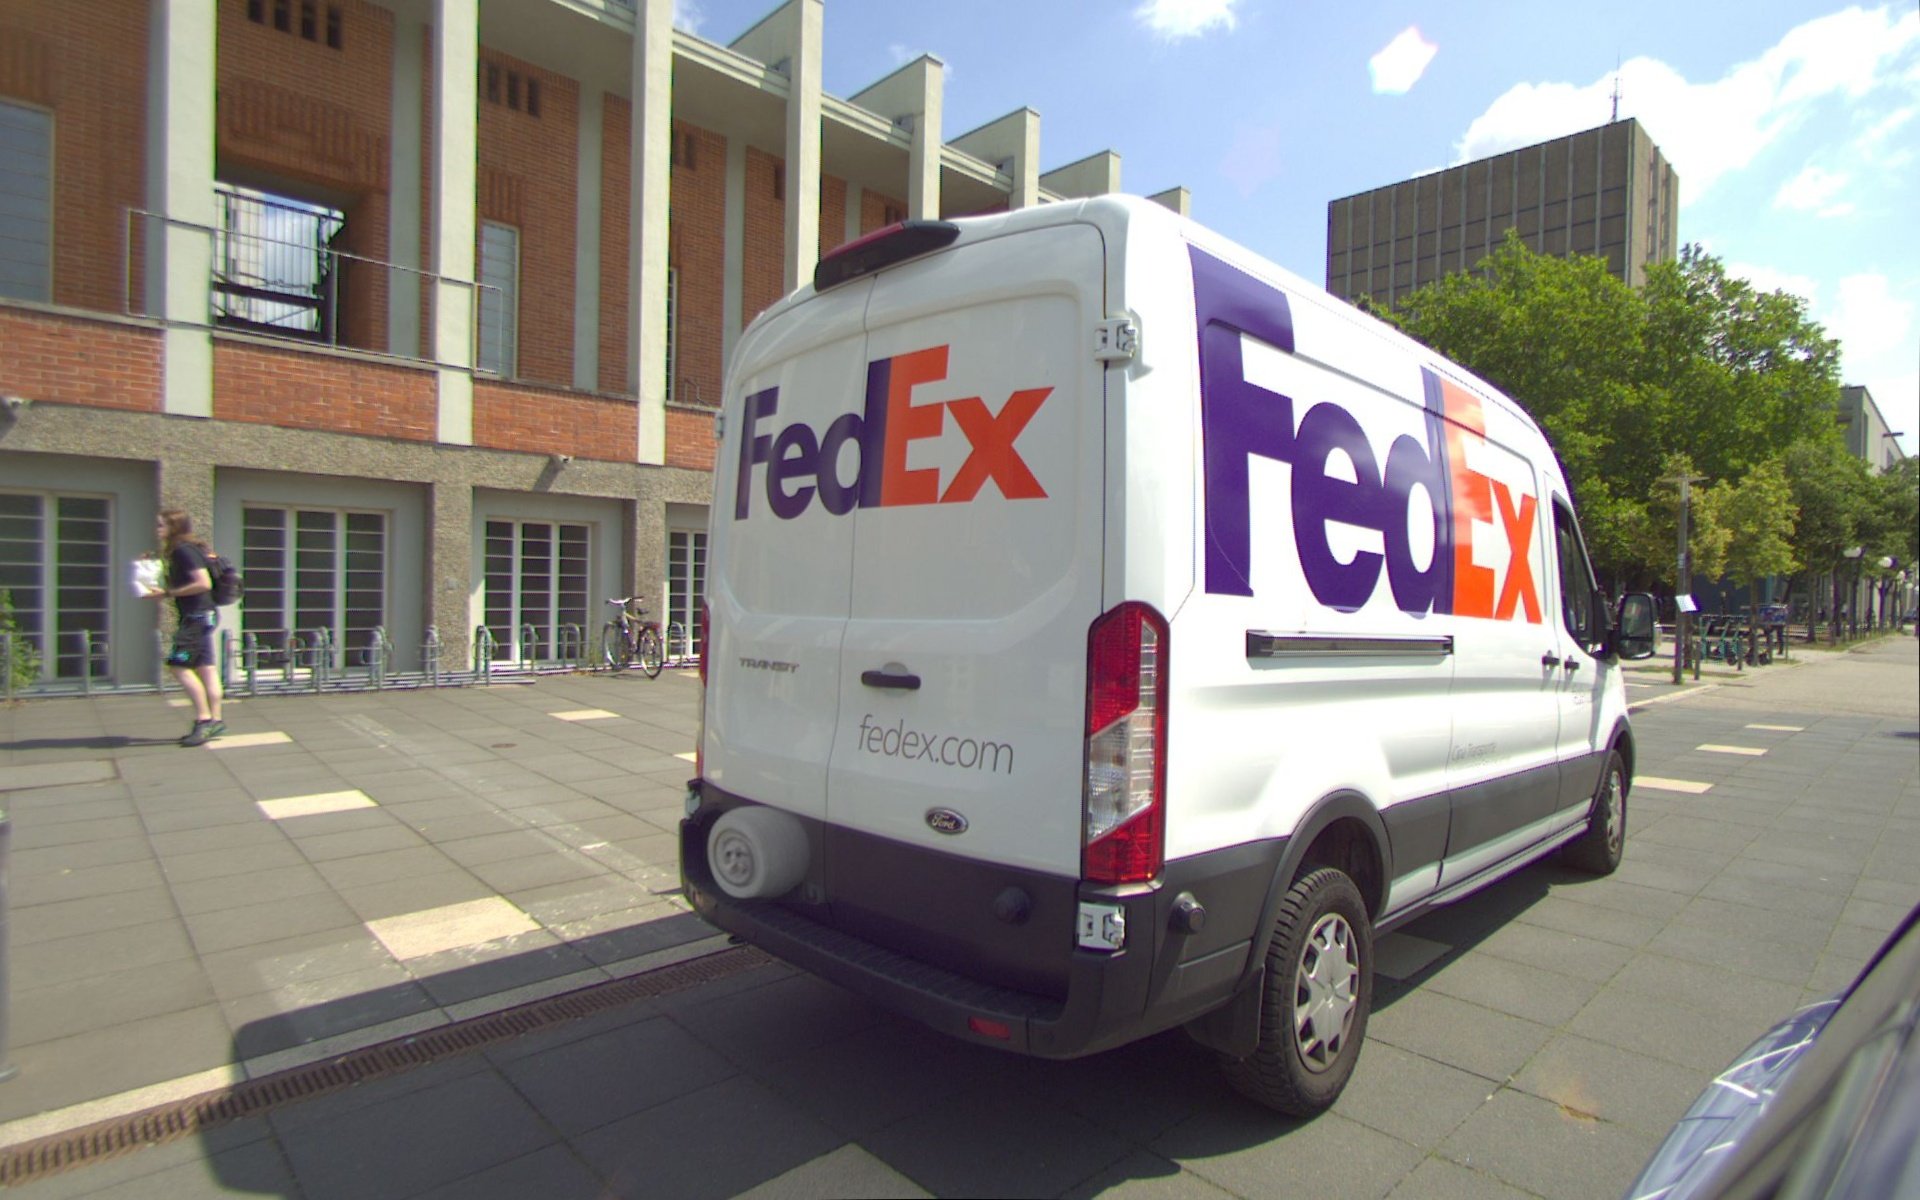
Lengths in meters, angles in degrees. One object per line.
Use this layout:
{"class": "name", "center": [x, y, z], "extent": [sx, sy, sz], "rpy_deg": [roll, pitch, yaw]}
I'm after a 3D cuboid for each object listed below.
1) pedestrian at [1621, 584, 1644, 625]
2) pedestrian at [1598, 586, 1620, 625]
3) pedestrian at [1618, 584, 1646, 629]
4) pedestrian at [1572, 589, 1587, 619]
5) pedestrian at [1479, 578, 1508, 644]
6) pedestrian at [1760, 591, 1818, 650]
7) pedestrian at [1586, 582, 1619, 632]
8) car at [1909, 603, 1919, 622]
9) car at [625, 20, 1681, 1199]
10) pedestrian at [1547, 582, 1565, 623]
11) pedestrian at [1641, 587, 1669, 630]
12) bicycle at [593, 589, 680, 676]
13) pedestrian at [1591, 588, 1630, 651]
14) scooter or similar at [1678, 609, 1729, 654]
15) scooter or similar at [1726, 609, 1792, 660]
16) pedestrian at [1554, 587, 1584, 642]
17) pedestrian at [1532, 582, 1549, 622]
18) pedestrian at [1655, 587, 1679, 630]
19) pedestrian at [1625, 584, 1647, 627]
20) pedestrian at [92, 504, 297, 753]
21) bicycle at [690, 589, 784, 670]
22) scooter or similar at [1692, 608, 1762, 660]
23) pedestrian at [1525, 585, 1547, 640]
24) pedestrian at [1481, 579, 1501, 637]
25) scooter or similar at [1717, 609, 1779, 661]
{"class": "pedestrian", "center": [31.577, 0.208, 47.537], "extent": [0.627, 1.893, 0.538], "rpy_deg": [2, 0, 1]}
{"class": "pedestrian", "center": [29.090, 0.253, 45.391], "extent": [0.631, 1.729, 0.710], "rpy_deg": [2, 0, 19]}
{"class": "pedestrian", "center": [27.319, 0.264, 41.173], "extent": [0.773, 1.813, 0.709], "rpy_deg": [2, 0, 24]}
{"class": "pedestrian", "center": [33.071, 0.202, 54.014], "extent": [0.635, 1.577, 0.568], "rpy_deg": [2, 1, 32]}
{"class": "pedestrian", "center": [15.038, 0.289, 28.550], "extent": [0.579, 1.800, 0.793], "rpy_deg": [2, 2, 21]}
{"class": "pedestrian", "center": [26.631, 0.644, 32.526], "extent": [0.968, 1.809, 1.091], "rpy_deg": [2, 1, 12]}
{"class": "pedestrian", "center": [26.504, 0.276, 41.758], "extent": [0.972, 1.970, 0.970], "rpy_deg": [2, 1, 24]}
{"class": "car", "center": [87.115, 1.108, 91.331], "extent": [1.994, 1.678, 3.936], "rpy_deg": [2, 1, 44]}
{"class": "car", "center": [1.606, 0.124, 4.796], "extent": [2.060, 2.575, 5.756], "rpy_deg": [2, 1, 44]}
{"class": "pedestrian", "center": [27.091, 0.112, 45.999], "extent": [0.535, 1.816, 0.640], "rpy_deg": [2, 0, 22]}
{"class": "pedestrian", "center": [28.100, 0.327, 40.921], "extent": [0.743, 1.694, 0.839], "rpy_deg": [2, 1, 24]}
{"class": "bicycle", "center": [-4.568, 0.431, 14.232], "extent": [0.428, 1.124, 1.683], "rpy_deg": [1, 1, -44]}
{"class": "pedestrian", "center": [18.474, 0.536, 28.742], "extent": [0.781, 1.696, 1.064], "rpy_deg": [2, 2, 40]}
{"class": "scooter or similar", "center": [20.436, 0.869, 27.824], "extent": [1.448, 1.194, 0.577], "rpy_deg": [2, 1, -30]}
{"class": "scooter or similar", "center": [20.840, 0.882, 26.407], "extent": [0.564, 1.248, 1.267], "rpy_deg": [2, 1, -9]}
{"class": "pedestrian", "center": [20.128, 0.461, 33.438], "extent": [0.785, 1.788, 0.667], "rpy_deg": [2, -1, -45]}
{"class": "pedestrian", "center": [26.500, 0.094, 46.202], "extent": [0.559, 1.816, 0.640], "rpy_deg": [2, 0, 22]}
{"class": "pedestrian", "center": [29.696, 0.354, 42.525], "extent": [0.615, 1.761, 0.768], "rpy_deg": [2, 0, 24]}
{"class": "pedestrian", "center": [28.636, 0.232, 42.879], "extent": [0.596, 1.774, 0.758], "rpy_deg": [2, 0, 25]}
{"class": "pedestrian", "center": [-6.235, 0.204, 8.264], "extent": [0.843, 1.857, 1.179], "rpy_deg": [1, 1, 41]}
{"class": "bicycle", "center": [-3.421, 0.424, 15.418], "extent": [0.428, 1.124, 1.912], "rpy_deg": [1, 1, -44]}
{"class": "scooter or similar", "center": [19.447, 0.847, 25.681], "extent": [0.564, 1.245, 1.359], "rpy_deg": [2, 1, -9]}
{"class": "pedestrian", "center": [20.416, 0.441, 35.873], "extent": [0.663, 1.911, 0.963], "rpy_deg": [0, -3, 29]}
{"class": "pedestrian", "center": [18.410, 0.283, 35.084], "extent": [0.560, 1.954, 0.882], "rpy_deg": [0, -3, 24]}
{"class": "scooter or similar", "center": [20.188, 0.880, 25.942], "extent": [0.564, 1.259, 1.145], "rpy_deg": [2, 1, -9]}
